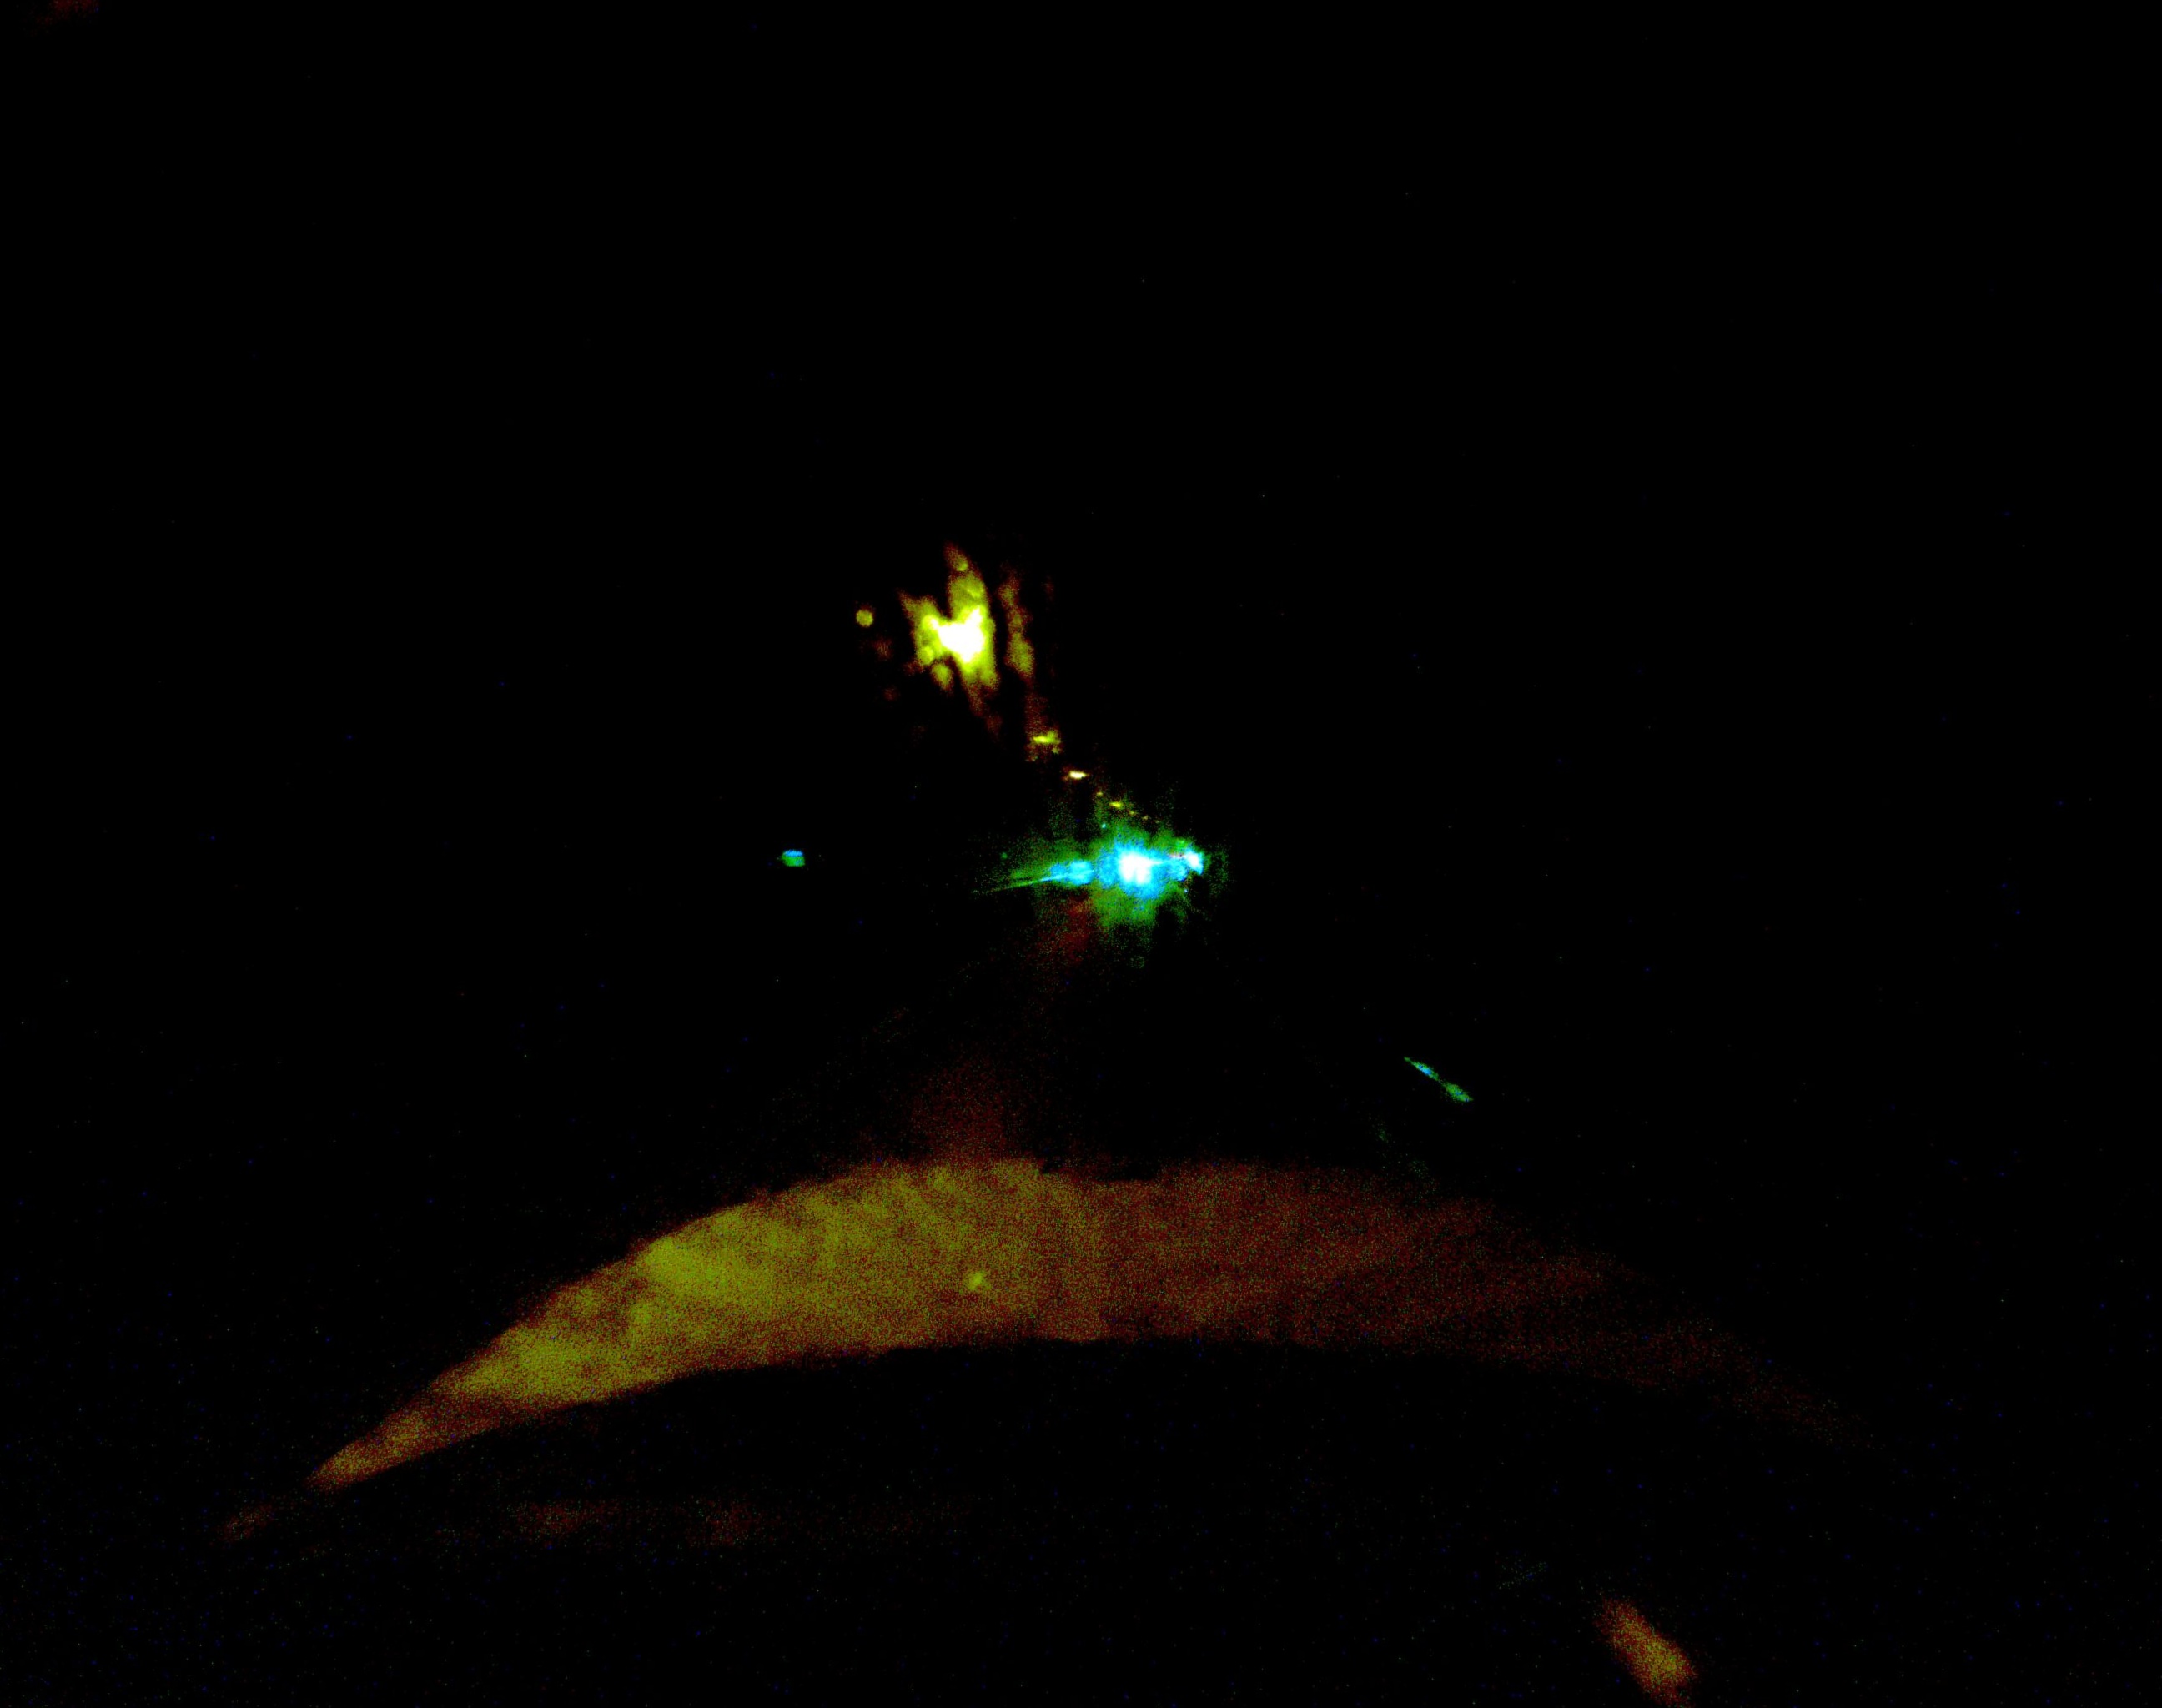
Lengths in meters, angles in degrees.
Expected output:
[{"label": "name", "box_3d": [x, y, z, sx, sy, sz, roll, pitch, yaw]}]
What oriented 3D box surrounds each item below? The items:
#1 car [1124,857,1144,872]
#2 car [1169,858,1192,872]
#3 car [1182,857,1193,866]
[{"label": "car", "box_3d": [5.116, 1.024, 79.436, 1.621, 1.447, 3.934, 0, 0, -2]}, {"label": "car", "box_3d": [11.549, 1.255, 94.131, 1.978, 1.650, 4.018, 0, 0, 17]}, {"label": "car", "box_3d": [16.814, 1.114, 128.167, 1.620, 1.397, 4.010, 0, 0, 8]}]
